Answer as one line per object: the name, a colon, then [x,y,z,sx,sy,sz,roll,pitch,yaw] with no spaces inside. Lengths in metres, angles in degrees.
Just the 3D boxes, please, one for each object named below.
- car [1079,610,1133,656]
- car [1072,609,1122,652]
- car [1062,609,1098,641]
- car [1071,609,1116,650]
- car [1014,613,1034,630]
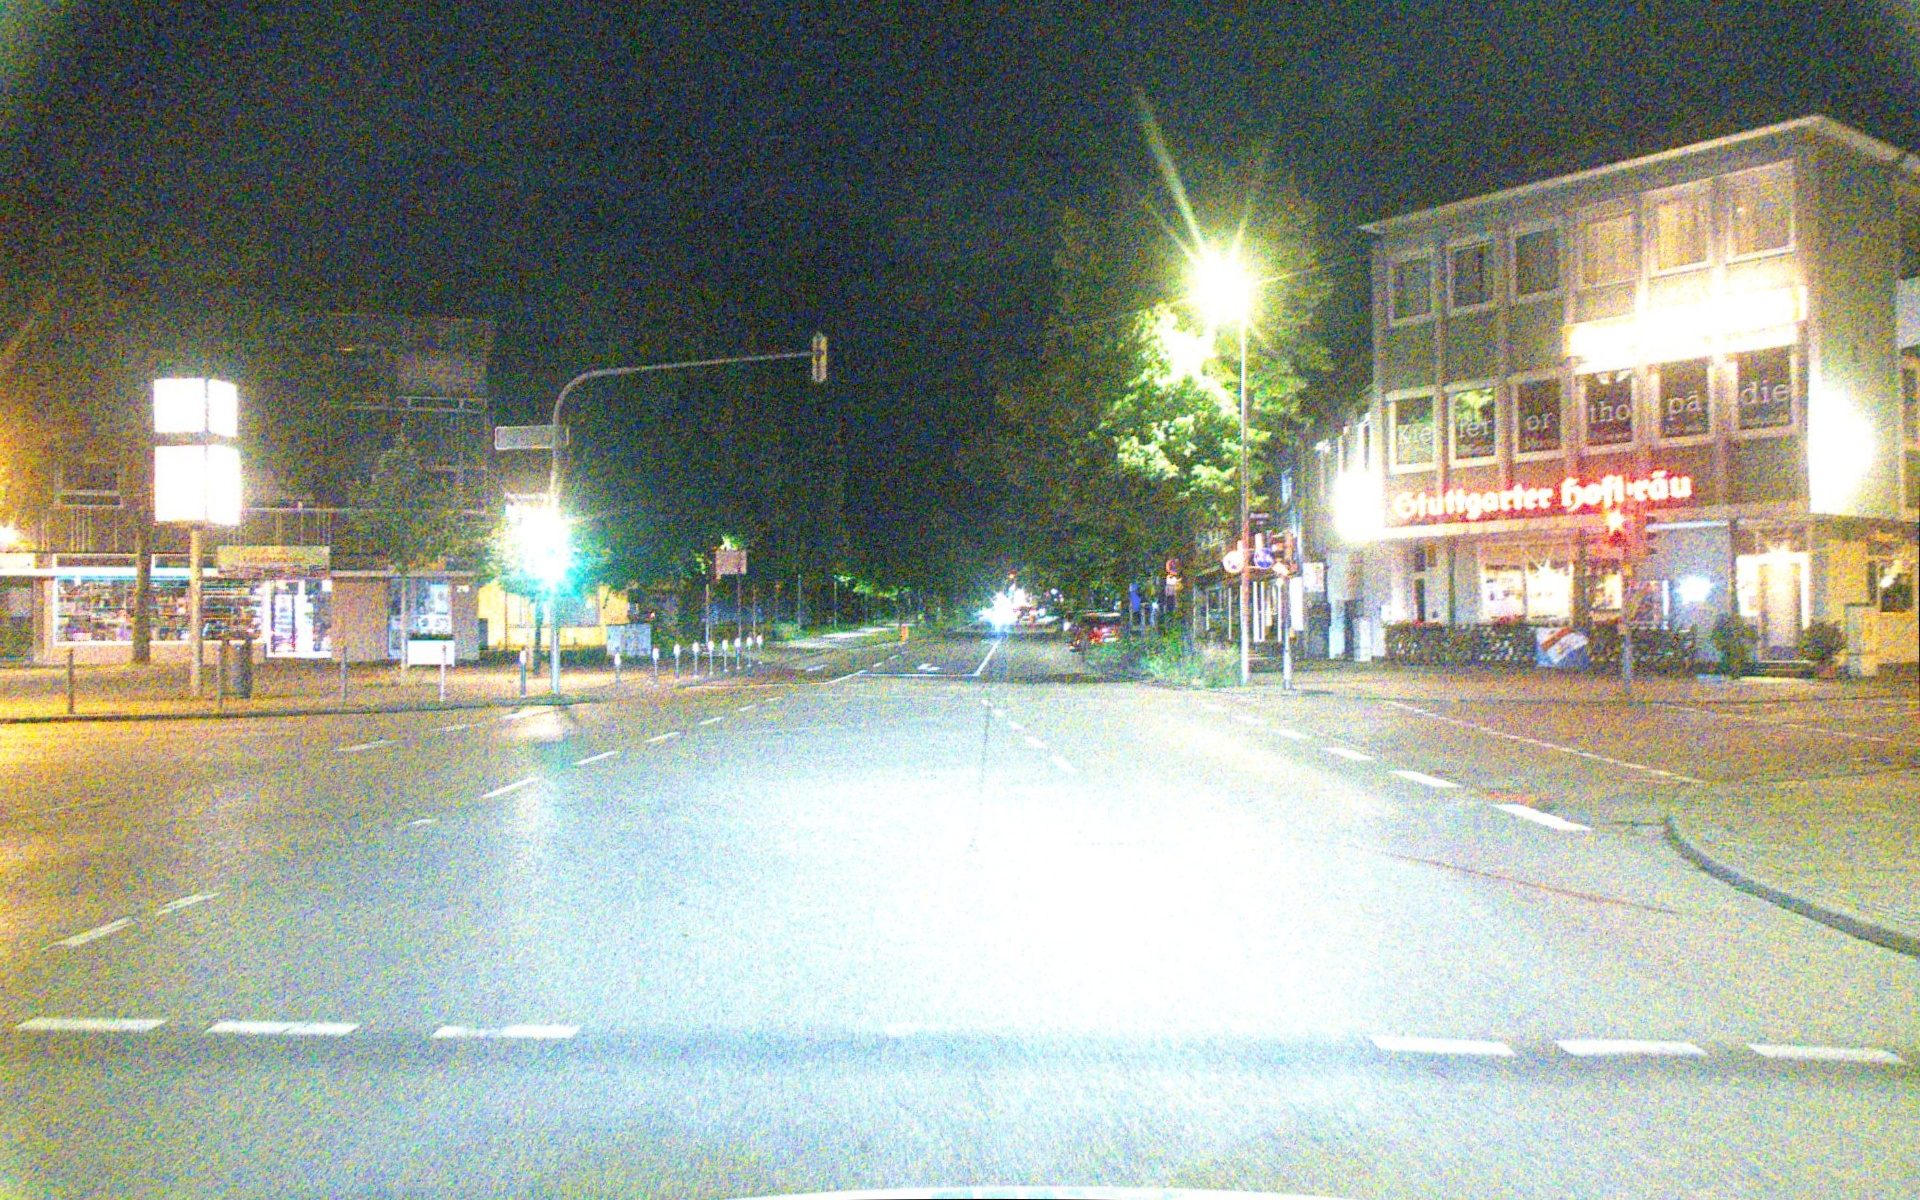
car: [5.374,1.201,61.263,1.837,1.644,4.001,0,-1,3]
car: [5.449,1.218,66.299,1.837,1.644,4.001,0,-1,3]
car: [6.648,1.387,91.980,1.837,1.713,4.001,0,-1,3]
car: [5.951,1.309,73.971,1.837,1.759,4.001,0,-1,3]
car: [5.925,1.980,153.218,1.835,1.479,4.317,1,-1,2]
